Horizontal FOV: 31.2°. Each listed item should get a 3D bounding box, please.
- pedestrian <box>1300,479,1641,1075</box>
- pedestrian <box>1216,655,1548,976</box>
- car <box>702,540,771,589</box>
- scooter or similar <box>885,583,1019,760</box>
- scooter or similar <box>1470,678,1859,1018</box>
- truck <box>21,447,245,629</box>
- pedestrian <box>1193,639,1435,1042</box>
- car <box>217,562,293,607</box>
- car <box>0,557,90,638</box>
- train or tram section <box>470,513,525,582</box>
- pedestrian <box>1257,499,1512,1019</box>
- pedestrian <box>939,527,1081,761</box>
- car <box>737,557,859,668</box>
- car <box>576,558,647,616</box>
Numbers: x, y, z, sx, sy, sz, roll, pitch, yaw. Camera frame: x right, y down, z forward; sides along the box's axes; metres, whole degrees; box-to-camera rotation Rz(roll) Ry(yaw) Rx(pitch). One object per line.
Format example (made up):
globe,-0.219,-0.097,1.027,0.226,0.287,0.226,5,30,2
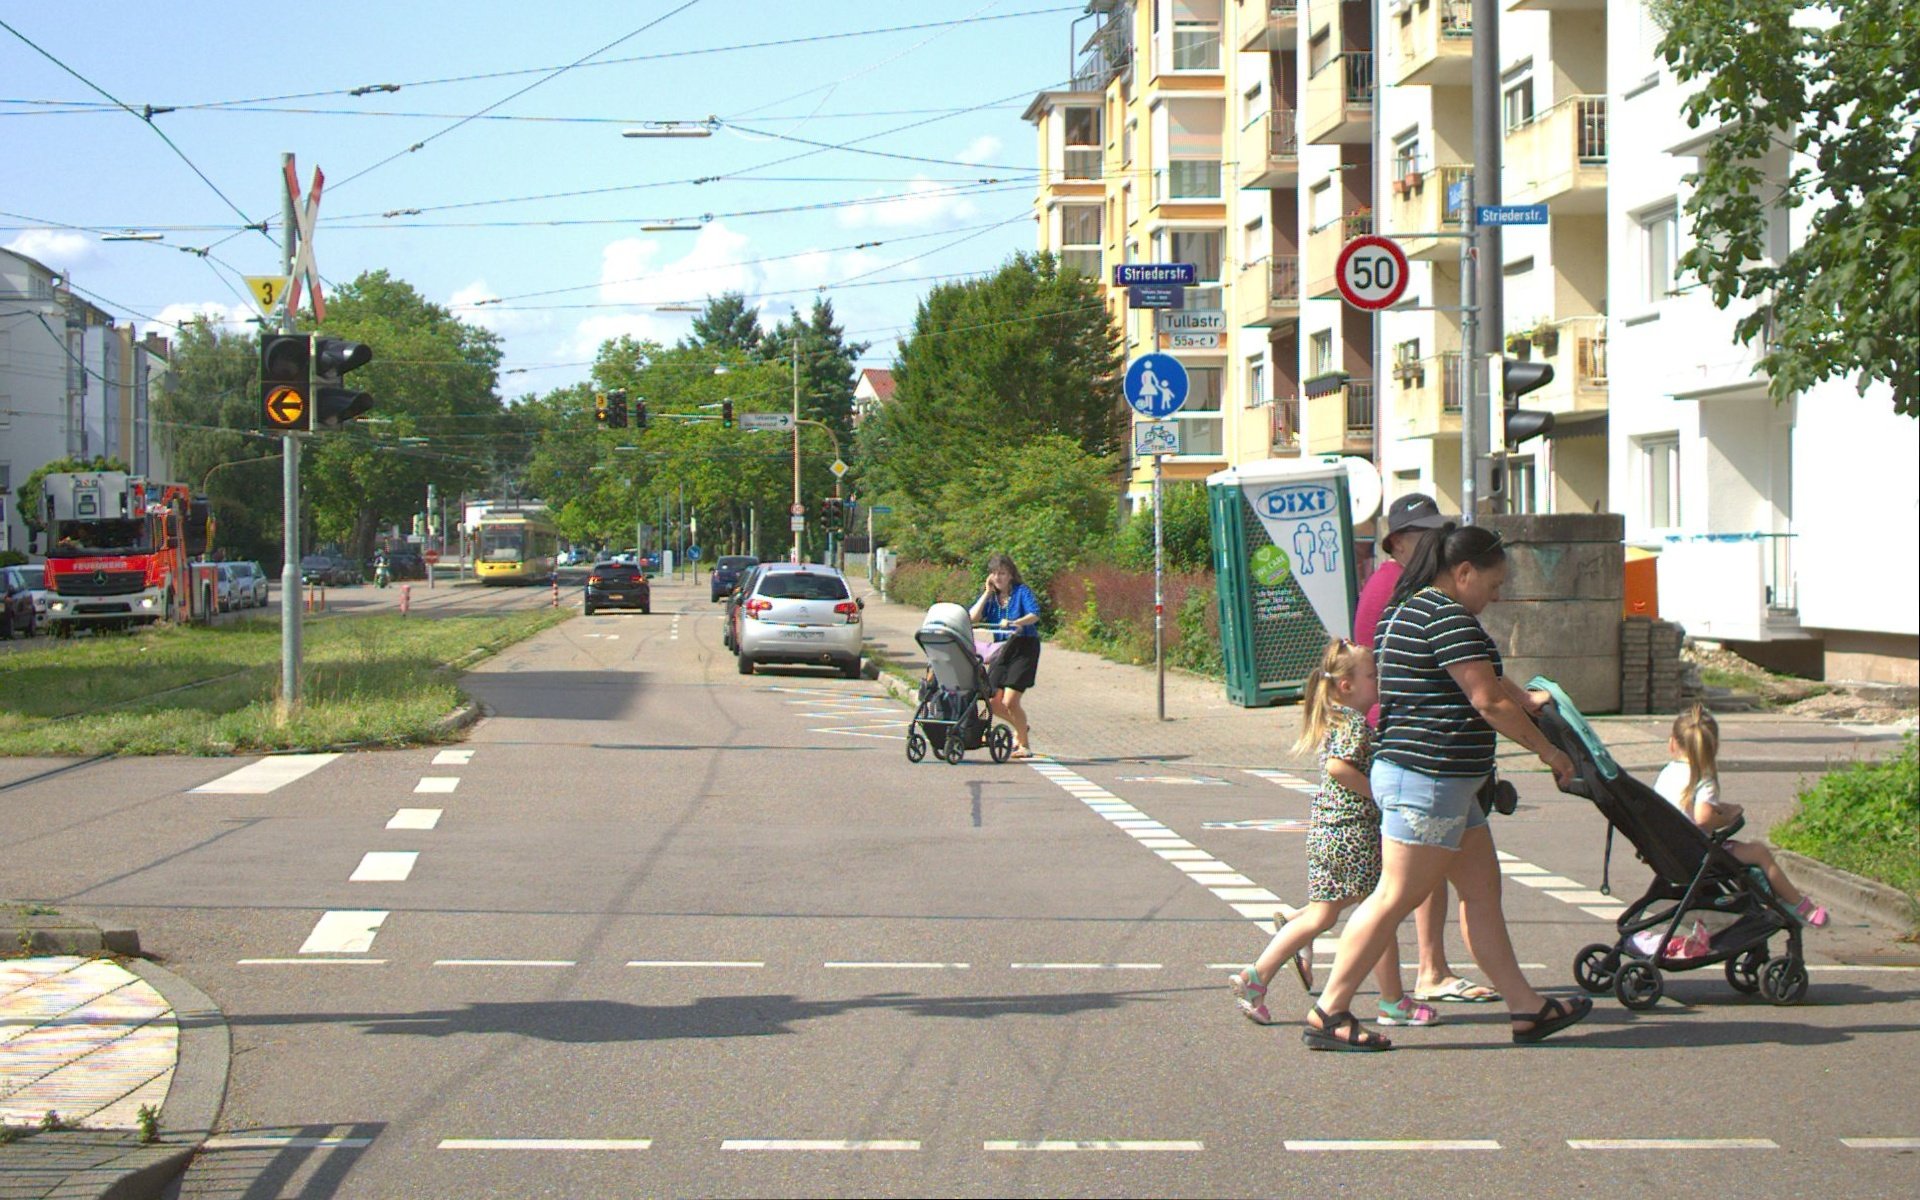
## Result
pedestrian,1.474,0.493,10.053,0.845,1.662,0.799,-1,0,-1
pedestrian,2.971,1.473,25.004,1.993,2.007,4.000,1,0,2
car,-7.206,-1.143,111.041,1.744,1.502,4.000,1,0,3
scooter or similar,-0.057,0.535,26.202,0.663,1.299,0.867,2,1,27
scooter or similar,2.302,0.802,11.313,1.100,1.052,0.650,1,0,-3
truck,-17.059,-1.233,71.624,2.666,3.459,10.169,1,0,-3
pedestrian,1.081,0.720,10.633,0.636,1.176,0.799,-1,0,-1
car,-22.305,-0.508,108.871,1.846,1.363,4.001,1,0,-5
car,-20.453,-0.075,75.333,1.993,1.705,4.001,1,0,-4
train or tram section,-21.149,-2.386,157.419,2.258,3.058,8.135,-1,1,-6
pedestrian,1.383,0.506,11.287,0.705,1.642,0.637,2,0,-1
pedestrian,0.396,0.339,27.034,0.702,1.783,1.029,2,1,25
car,-2.282,0.158,48.267,1.622,1.460,3.511,1,0,-3
car,-9.398,-0.360,93.001,1.743,1.502,4.001,1,0,-4
